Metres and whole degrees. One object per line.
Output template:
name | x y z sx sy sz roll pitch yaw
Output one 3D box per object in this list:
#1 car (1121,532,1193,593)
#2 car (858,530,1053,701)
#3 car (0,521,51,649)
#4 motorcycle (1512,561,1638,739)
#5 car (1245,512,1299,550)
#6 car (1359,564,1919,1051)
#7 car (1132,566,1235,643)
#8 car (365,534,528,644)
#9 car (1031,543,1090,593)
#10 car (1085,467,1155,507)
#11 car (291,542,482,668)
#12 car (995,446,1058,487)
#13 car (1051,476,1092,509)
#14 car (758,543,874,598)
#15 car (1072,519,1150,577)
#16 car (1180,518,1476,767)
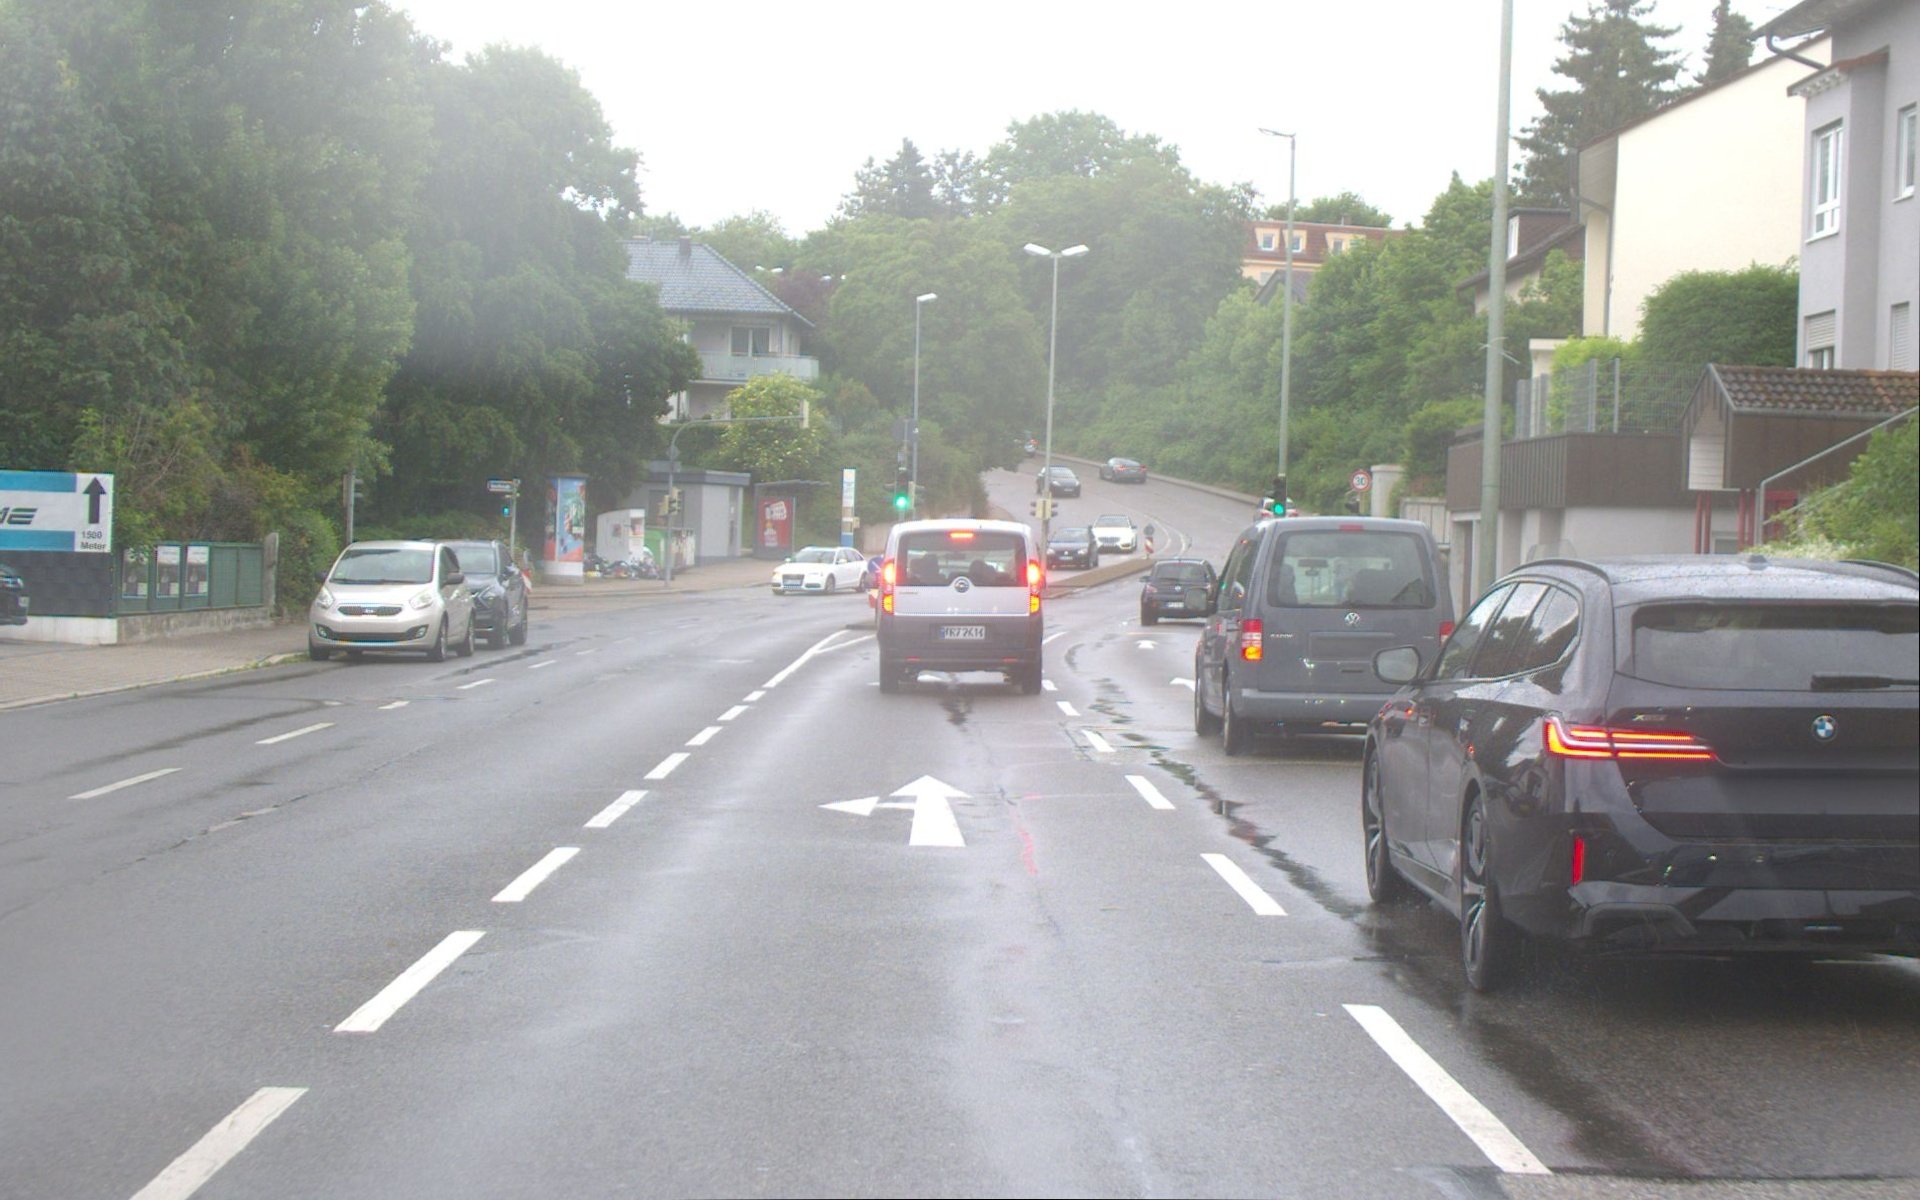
car | 7.514 -1.455 131.680 2.522 2.006 5.608 2 3 2
car | -0.045 0.157 38.056 1.993 1.731 4.000 2 0 0
car | -13.490 -0.369 42.184 4.072 1.511 1.856 6 0 0
motorcycle | 5.406 0.418 30.346 0.703 1.504 2.150 -1 0 0
car | 14.080 -3.102 155.330 1.993 1.579 4.000 2 0 0
car | 2.673 0.647 12.729 1.993 1.479 4.000 2 0 2
car | 4.966 0.075 76.908 1.993 1.573 4.000 -2 1 0
car | -7.895 -0.172 53.183 1.884 1.579 4.000 2 0 0
car | 3.668 -1.171 125.598 1.993 1.766 4.000 1 1 0
car | 8.958 -6.358 193.098 2.521 2.006 5.611 2 3 -12
car | -7.701 0.052 46.483 1.884 1.579 4.000 2 0 0
car | 4.105 -8.341 213.808 2.521 2.006 5.612 2 6 -13
car | 5.855 -5.669 181.341 1.993 1.579 4.000 2 0 0
car | -4.337 -0.890 104.447 1.995 1.542 4.391 2 0 19
car | 6.177 -2.170 141.507 2.521 2.006 5.610 2 4 -4
car | 2.808 0.300 27.030 1.838 1.761 4.000 2 0 0
